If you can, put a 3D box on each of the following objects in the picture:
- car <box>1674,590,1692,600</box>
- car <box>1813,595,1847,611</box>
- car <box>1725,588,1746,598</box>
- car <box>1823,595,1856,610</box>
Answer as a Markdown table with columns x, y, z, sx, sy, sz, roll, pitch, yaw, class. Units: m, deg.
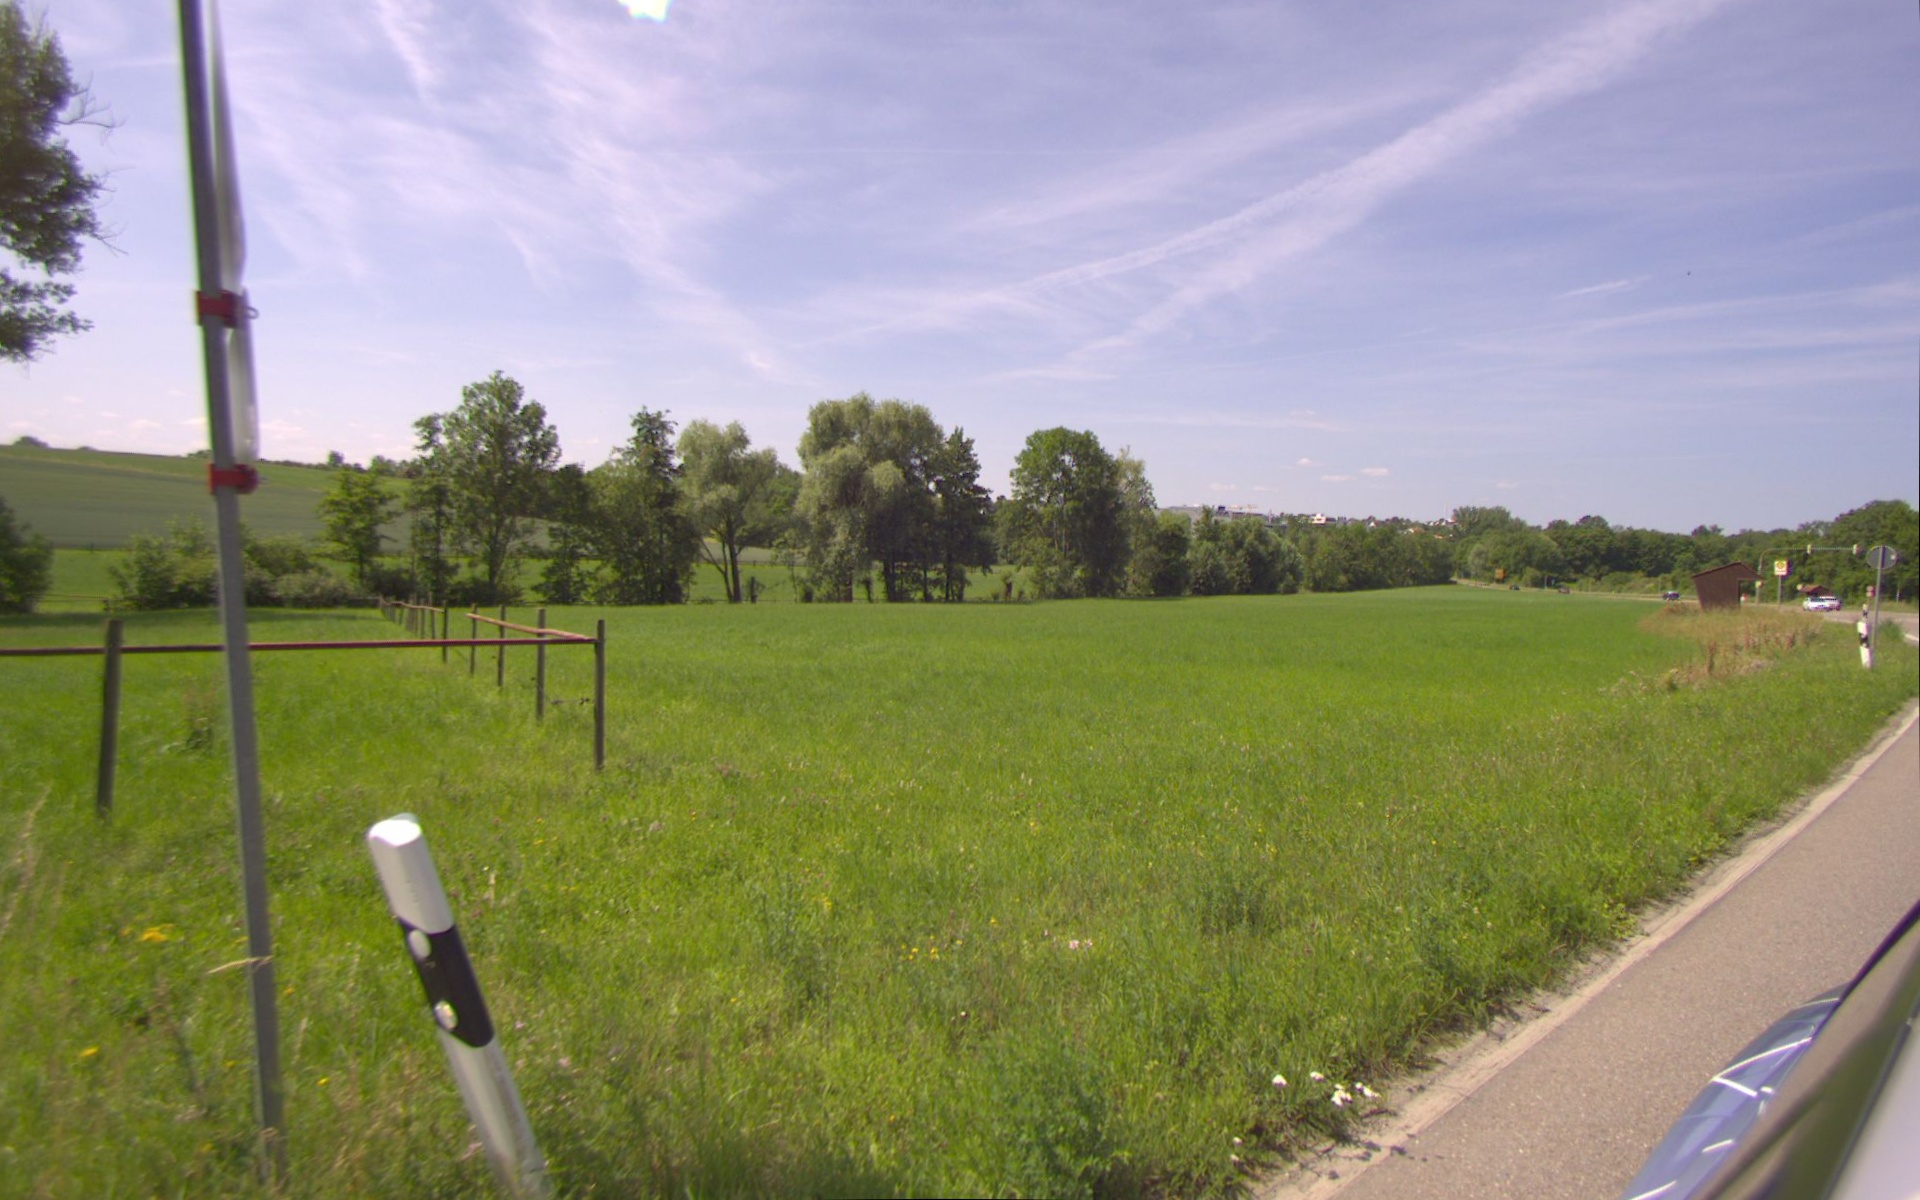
| x | y | z | sx | sy | sz | roll | pitch | yaw | class |
| --- | --- | --- | --- | --- | --- | --- | --- | --- | --- |
| 127.350 | -0.885 | 178.229 | 1.961 | 1.582 | 4.151 | 1 | 0 | 26 | car |
| 90.867 | 0.277 | 105.710 | 1.984 | 1.605 | 3.957 | 1 | 0 | 30 | car |
| 118.948 | -1.014 | 155.260 | 1.695 | 1.501 | 3.798 | 1 | 0 | 26 | car |
| 99.729 | 0.266 | 114.789 | 1.926 | 1.568 | 4.580 | 1 | 0 | 29 | car |
